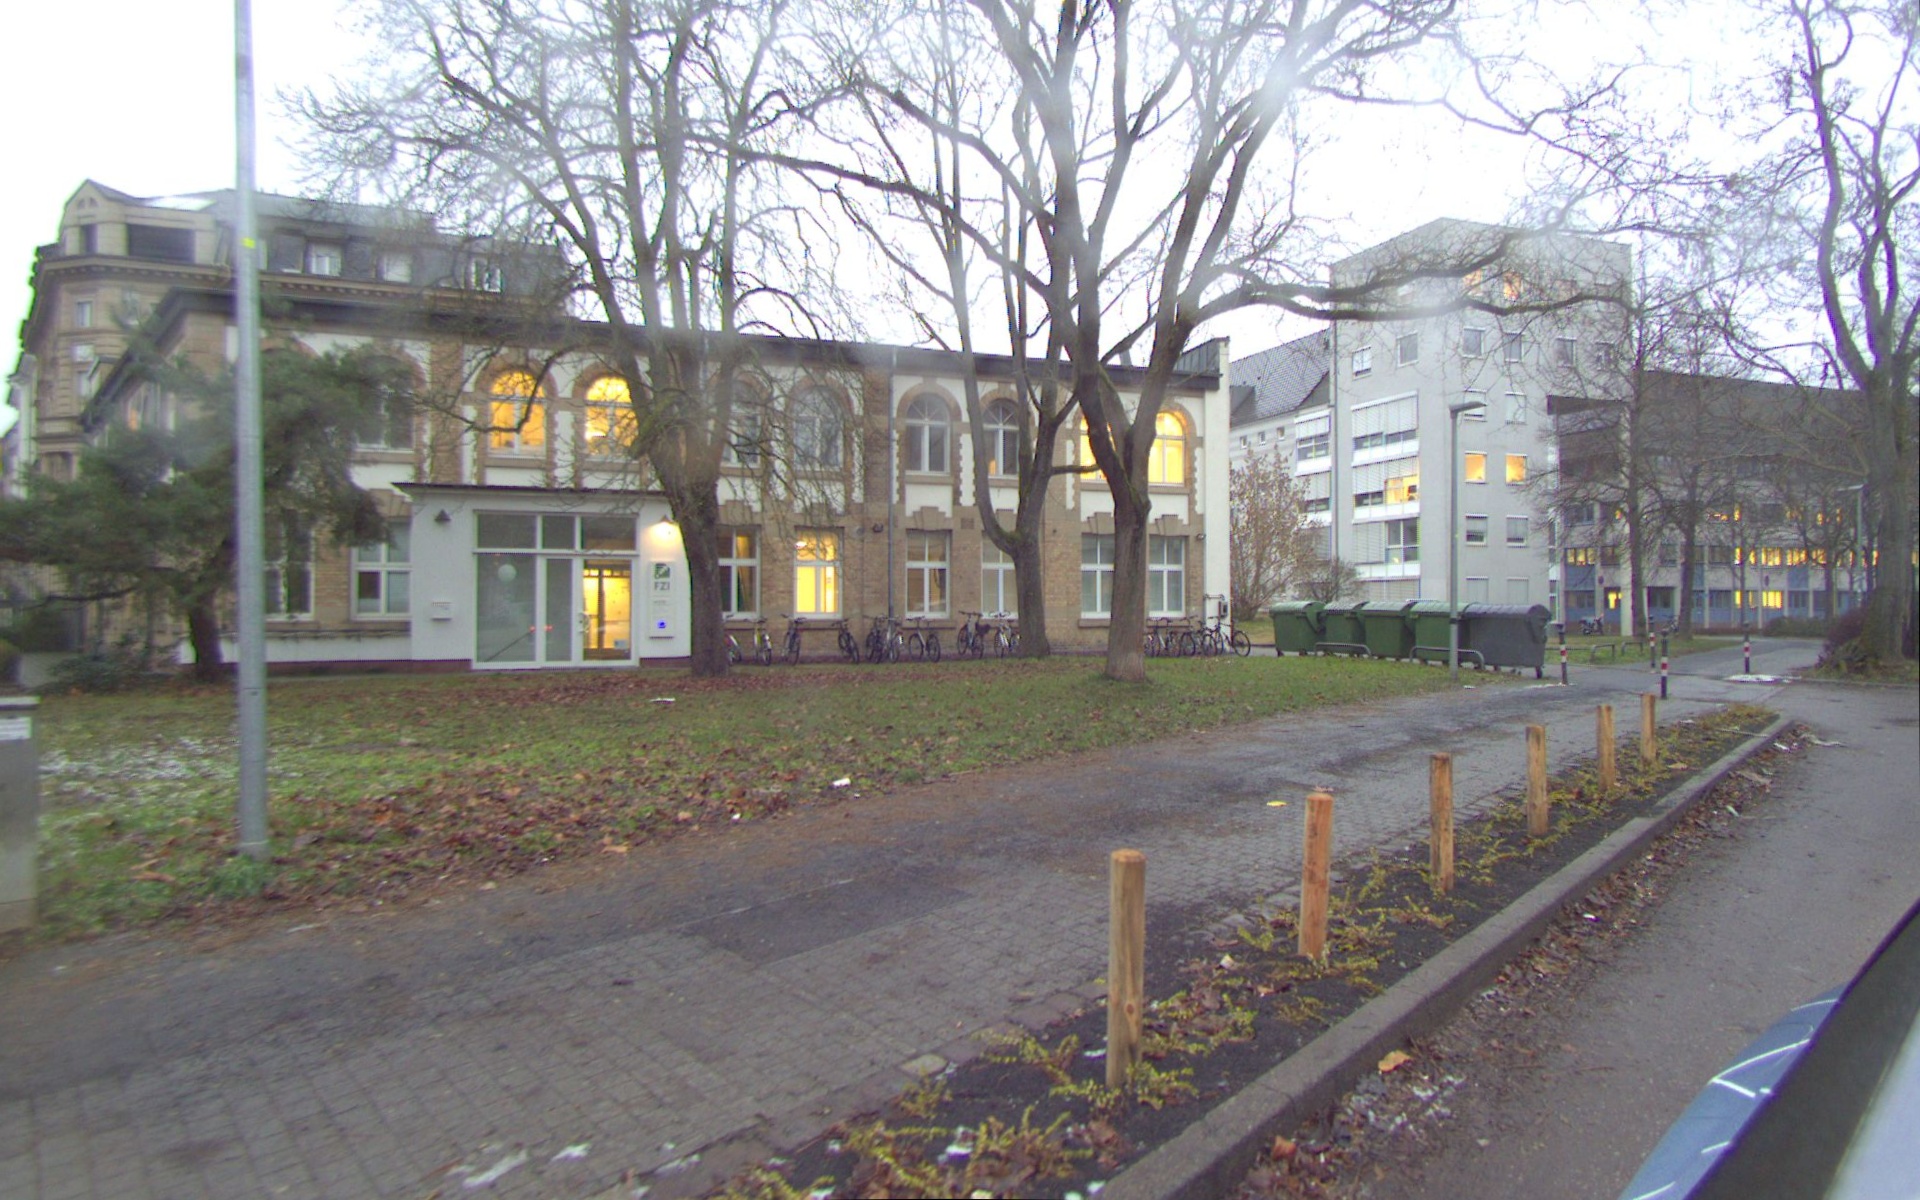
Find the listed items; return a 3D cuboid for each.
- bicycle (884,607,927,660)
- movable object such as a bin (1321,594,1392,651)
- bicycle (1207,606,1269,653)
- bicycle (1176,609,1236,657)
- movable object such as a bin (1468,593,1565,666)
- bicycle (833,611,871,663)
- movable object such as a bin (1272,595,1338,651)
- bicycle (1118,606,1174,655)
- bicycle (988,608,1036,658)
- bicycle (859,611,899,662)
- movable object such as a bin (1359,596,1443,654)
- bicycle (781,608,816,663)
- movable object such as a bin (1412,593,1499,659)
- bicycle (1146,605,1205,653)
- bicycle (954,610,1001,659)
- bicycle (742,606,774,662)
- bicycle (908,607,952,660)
[{"bbox_3d":[-1.319,0.768,24.079,0.561,1.171,2.146,0,0,-15],"label":"bicycle"},{"bbox_3d":[9.331,0.512,23.860,0.967,1.296,1.254,0,0,-22],"label":"movable object such as a bin"},{"bbox_3d":[7.391,0.752,27.006,0.561,1.171,2.146,0,0,-15],"label":"bicycle"},{"bbox_3d":[6.468,0.836,26.741,0.561,1.171,2.146,0,0,-15],"label":"bicycle"},{"bbox_3d":[10.807,0.541,19.686,1.043,1.333,1.324,-1,2,-35],"label":"movable object such as a bin"},{"bbox_3d":[-2.550,0.831,23.723,0.561,1.063,2.147,0,2,-15],"label":"bicycle"},{"bbox_3d":[8.543,0.546,25.110,0.967,1.330,1.266,0,0,-22],"label":"movable object such as a bin"},{"bbox_3d":[4.761,0.764,26.041,0.561,1.171,2.146,0,0,-15],"label":"bicycle"},{"bbox_3d":[1.258,0.788,24.944,0.561,1.124,2.146,0,0,-15],"label":"bicycle"},{"bbox_3d":[-1.939,0.833,23.912,0.561,1.029,2.147,0,2,-15],"label":"bicycle"},{"bbox_3d":[9.757,0.531,22.435,0.967,1.240,1.441,0,0,-22],"label":"movable object such as a bin"},{"bbox_3d":[-3.724,0.777,23.183,0.561,1.171,2.146,0,0,-15],"label":"bicycle"},{"bbox_3d":[10.272,0.513,21.013,0.967,1.330,1.310,0,0,-22],"label":"movable object such as a bin"},{"bbox_3d":[5.583,0.726,26.332,0.561,1.171,2.146,0,0,-15],"label":"bicycle"},{"bbox_3d":[0.410,0.807,24.660,0.561,1.106,2.146,0,0,-15],"label":"bicycle"},{"bbox_3d":[-4.598,0.750,22.928,0.561,1.171,2.146,0,0,-15],"label":"bicycle"},{"bbox_3d":[-0.737,0.783,24.255,0.561,1.171,2.146,0,0,-15],"label":"bicycle"}]
